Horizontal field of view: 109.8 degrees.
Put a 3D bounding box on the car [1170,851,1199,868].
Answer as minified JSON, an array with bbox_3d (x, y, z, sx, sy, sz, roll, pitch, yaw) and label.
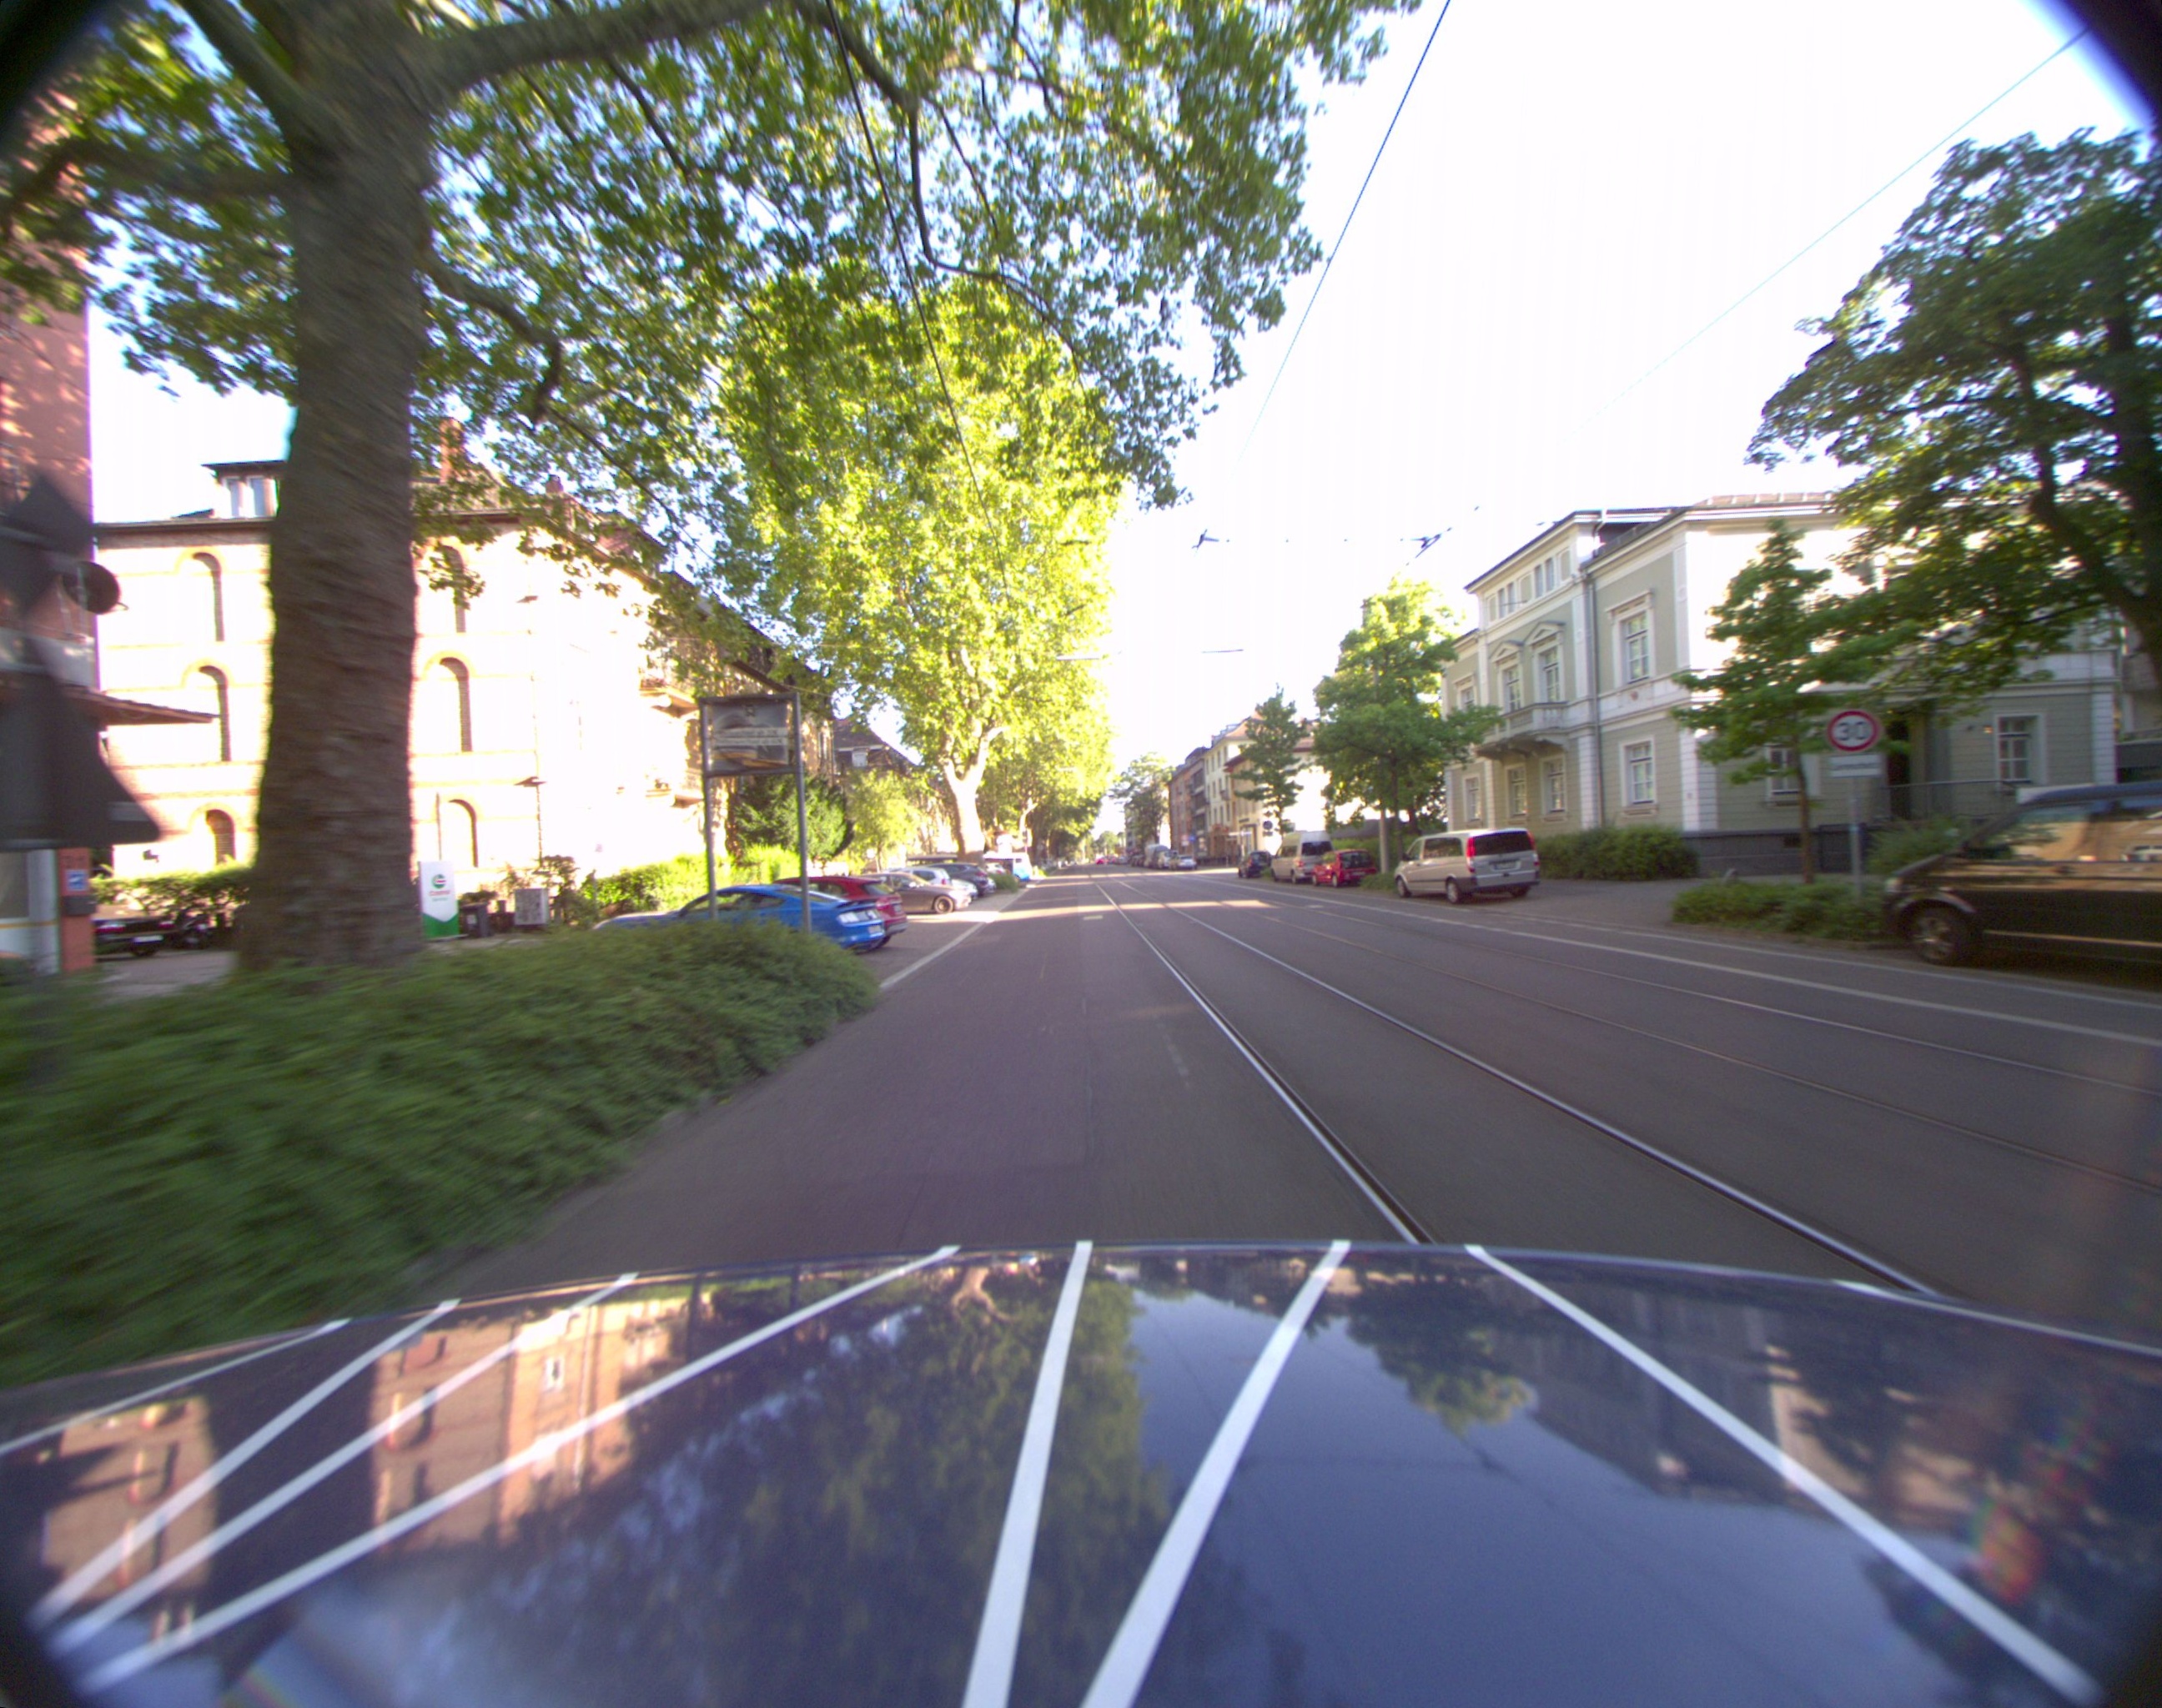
[{"bbox_3d":[9.888,0.506,72.793,1.776,1.483,4.940,-4,0,-3],"label":"car"}]

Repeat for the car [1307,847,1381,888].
[{"bbox_3d":[10.740,0.524,31.297,1.689,1.530,3.707,-3,0,-1],"label":"car"}]

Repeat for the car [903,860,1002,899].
[{"bbox_3d":[-5.941,1.161,35.483,4.210,1.609,1.818,-3,0,2],"label":"car"}]

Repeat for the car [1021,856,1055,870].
[{"bbox_3d":[-6.021,1.272,107.629,4.611,1.781,1.893,-2,-1,2],"label":"car"}]

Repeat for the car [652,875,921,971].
[{"bbox_3d":[-5.604,1.292,14.873,4.414,1.534,1.952,-3,0,2],"label":"car"}]

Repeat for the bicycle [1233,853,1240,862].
[{"bbox_3d":[15.649,0.355,76.562,0.362,0.923,1.647,-3,0,0],"label":"bicycle"}]

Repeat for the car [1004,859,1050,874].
[{"bbox_3d":[-5.786,1.367,81.714,4.611,1.485,1.893,-2,-1,2],"label":"car"}]

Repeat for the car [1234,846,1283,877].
[{"bbox_3d":[10.557,0.456,45.489,1.997,1.680,4.262,-3,0,2],"label":"car"}]

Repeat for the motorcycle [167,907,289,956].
[{"bbox_3d":[-21.861,1.985,19.483,2.382,1.096,0.808,-2,0,6],"label":"motorcycle"}]

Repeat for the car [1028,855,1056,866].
[{"bbox_3d":[-6.588,1.117,129.365,4.611,1.705,1.893,-2,-1,2],"label":"car"}]

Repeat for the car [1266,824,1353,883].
[{"bbox_3d":[10.725,-0.029,36.156,2.310,2.493,5.342,-3,0,-2],"label":"car"}]

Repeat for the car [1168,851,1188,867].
[{"bbox_3d":[9.879,0.512,77.516,1.575,1.484,2.882,-4,0,0],"label":"car"}]

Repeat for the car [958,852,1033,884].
[{"bbox_3d":[-5.657,0.926,50.829,4.859,2.002,2.193,-1,0,-4],"label":"car"}]

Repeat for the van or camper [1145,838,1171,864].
[{"bbox_3d":[9.652,-0.353,96.100,2.423,2.960,5.991,-6,0,1],"label":"van or camper"}]

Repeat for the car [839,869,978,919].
[{"bbox_3d":[-5.743,1.323,25.656,4.211,1.439,1.817,-3,0,-1],"label":"car"}]

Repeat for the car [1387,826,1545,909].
[{"bbox_3d":[10.522,0.331,21.276,1.848,1.977,4.988,-3,0,1],"label":"car"}]

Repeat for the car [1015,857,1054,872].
[{"bbox_3d":[-5.726,1.286,94.435,4.611,1.631,1.893,-2,-1,2],"label":"car"}]

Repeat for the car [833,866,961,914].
[{"bbox_3d":[-6.765,1.317,28.257,4.210,1.546,1.818,-3,0,2],"label":"car"}]

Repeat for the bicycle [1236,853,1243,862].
[{"bbox_3d":[15.638,0.359,74.882,0.362,0.923,1.647,-3,0,0],"label":"bicycle"}]

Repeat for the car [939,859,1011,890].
[{"bbox_3d":[-5.822,1.129,42.113,3.792,1.609,1.790,-1,0,-2],"label":"car"}]

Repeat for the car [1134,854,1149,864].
[{"bbox_3d":[9.405,0.739,118.155,1.791,1.462,4.434,-4,0,-1],"label":"car"}]

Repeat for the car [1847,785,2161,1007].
[{"bbox_3d":[10.705,0.343,7.154,1.999,2.002,4.834,-2,0,-2],"label":"car"}]

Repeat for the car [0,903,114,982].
[{"bbox_3d":[-22.698,1.826,15.115,3.999,1.382,1.941,-2,0,-8],"label":"car"}]

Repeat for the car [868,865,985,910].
[{"bbox_3d":[-6.142,1.307,30.468,4.210,1.565,1.818,-3,0,2],"label":"car"}]

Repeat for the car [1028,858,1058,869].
[{"bbox_3d":[-5.953,1.477,119.372,4.611,1.631,1.893,-2,-1,2],"label":"car"}]

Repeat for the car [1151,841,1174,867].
[{"bbox_3d":[9.561,0.005,89.375,1.928,2.730,4.546,-7,0,0],"label":"car"}]

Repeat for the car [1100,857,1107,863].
[{"bbox_3d":[5.927,1.594,203.719,1.769,1.448,3.586,-3,0,0],"label":"car"}]

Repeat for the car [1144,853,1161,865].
[{"bbox_3d":[9.619,0.696,102.783,1.791,1.506,3.473,-4,0,-1],"label":"car"}]

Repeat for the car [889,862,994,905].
[{"bbox_3d":[-5.951,1.234,32.834,4.211,1.609,1.878,-3,0,-3],"label":"car"}]

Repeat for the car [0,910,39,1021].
[{"bbox_3d":[-15.064,1.502,8.339,1.753,1.426,3.950,-2,0,0],"label":"car"}]

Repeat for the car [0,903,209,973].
[{"bbox_3d":[-23.615,1.963,17.749,3.998,1.319,1.942,-2,0,-4],"label":"car"}]

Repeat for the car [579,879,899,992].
[{"bbox_3d":[-5.474,1.290,12.480,4.412,1.534,1.818,-3,0,7],"label":"car"}]

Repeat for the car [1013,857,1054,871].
[{"bbox_3d":[-5.604,1.134,89.829,4.611,1.485,1.893,-2,-1,2],"label":"car"}]

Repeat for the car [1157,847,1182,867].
[{"bbox_3d":[9.660,0.342,83.362,1.928,2.034,4.940,-4,0,-1],"label":"car"}]

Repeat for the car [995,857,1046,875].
[{"bbox_3d":[-5.888,1.185,74.413,4.810,1.621,1.893,-2,-1,0],"label":"car"}]

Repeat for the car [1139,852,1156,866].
[{"bbox_3d":[9.460,0.718,108.010,1.791,1.743,4.434,-4,0,-1],"label":"car"}]
